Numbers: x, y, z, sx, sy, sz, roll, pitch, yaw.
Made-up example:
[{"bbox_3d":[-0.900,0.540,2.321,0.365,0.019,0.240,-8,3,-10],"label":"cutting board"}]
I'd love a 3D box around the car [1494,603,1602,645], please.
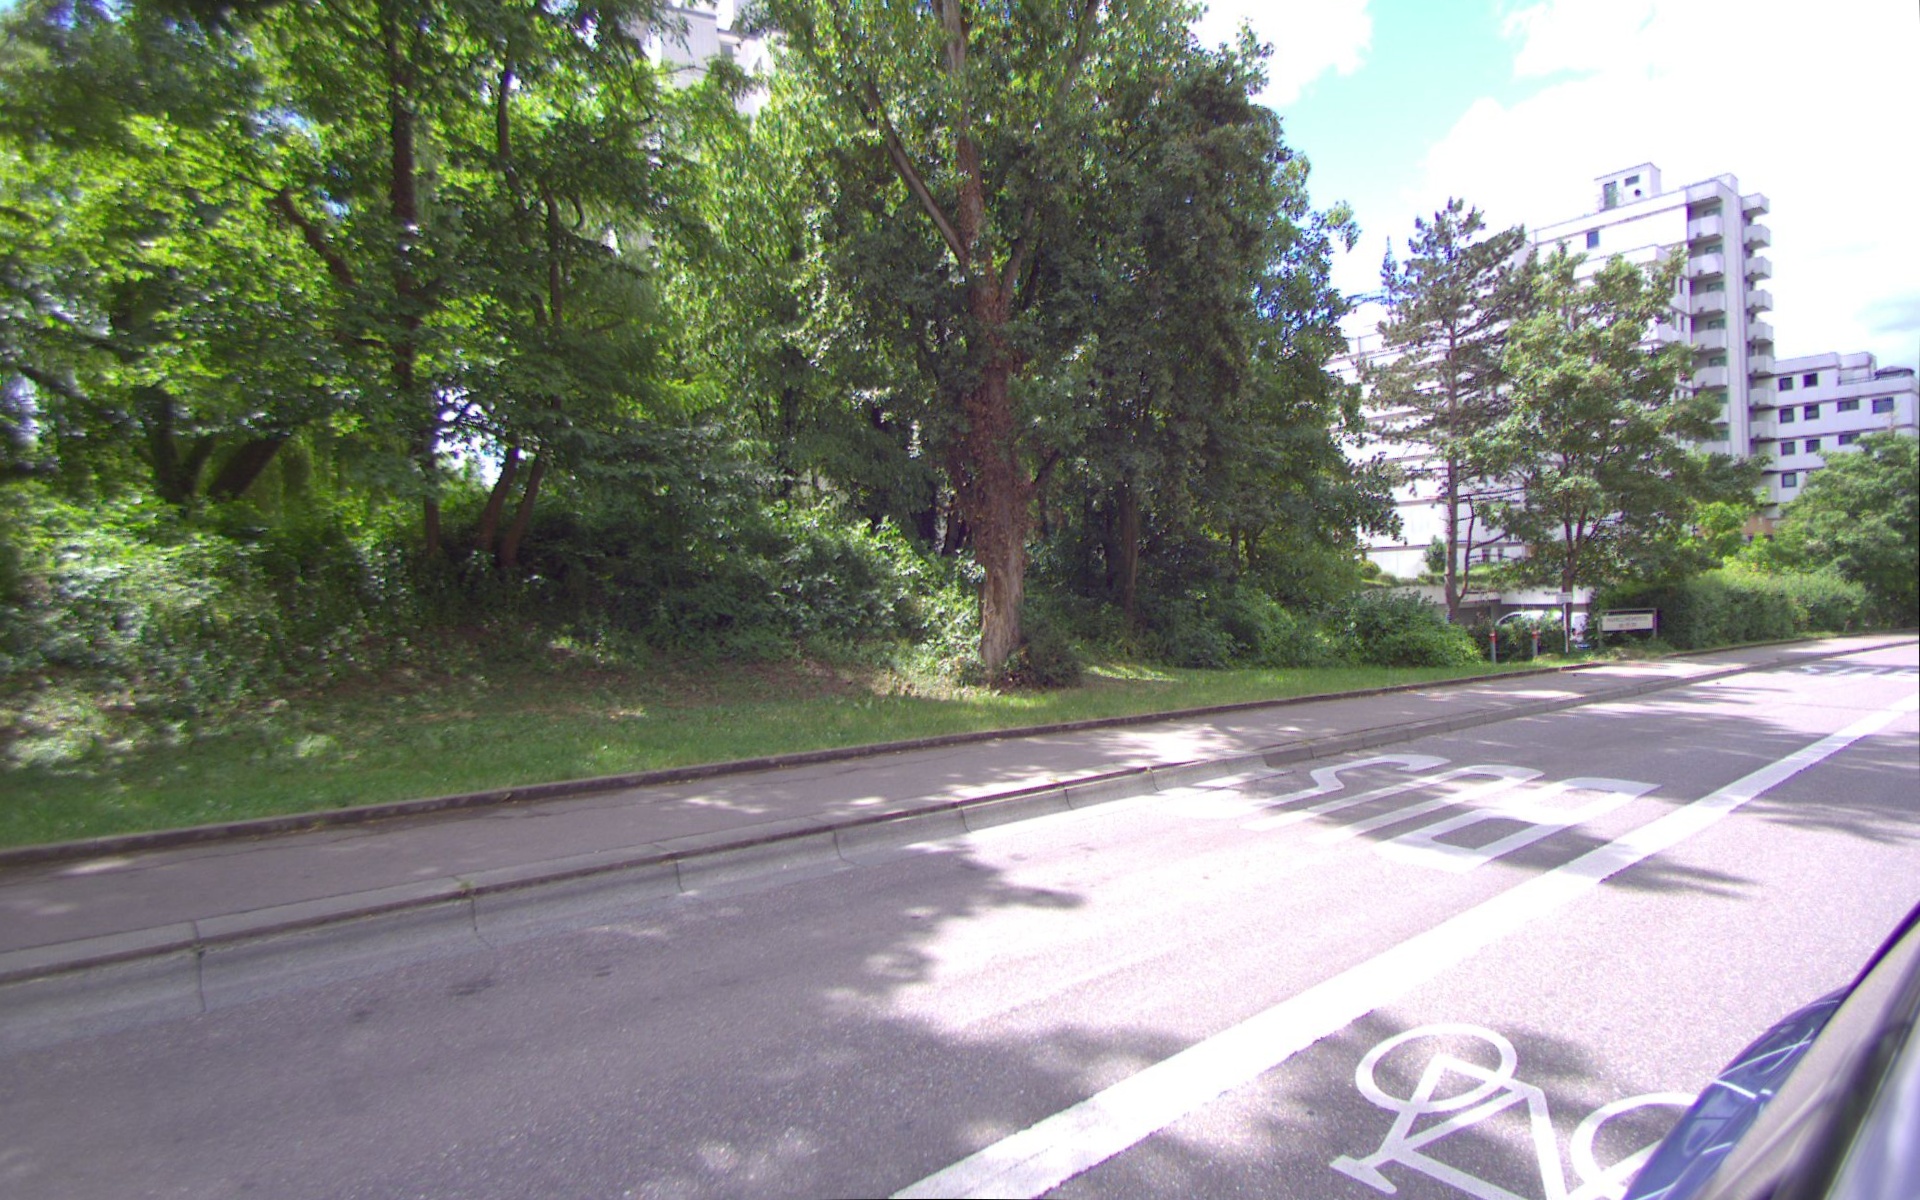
[{"bbox_3d":[31.102,1.230,53.677,1.960,2.039,4.553,-1,0,-31],"label":"car"}]
